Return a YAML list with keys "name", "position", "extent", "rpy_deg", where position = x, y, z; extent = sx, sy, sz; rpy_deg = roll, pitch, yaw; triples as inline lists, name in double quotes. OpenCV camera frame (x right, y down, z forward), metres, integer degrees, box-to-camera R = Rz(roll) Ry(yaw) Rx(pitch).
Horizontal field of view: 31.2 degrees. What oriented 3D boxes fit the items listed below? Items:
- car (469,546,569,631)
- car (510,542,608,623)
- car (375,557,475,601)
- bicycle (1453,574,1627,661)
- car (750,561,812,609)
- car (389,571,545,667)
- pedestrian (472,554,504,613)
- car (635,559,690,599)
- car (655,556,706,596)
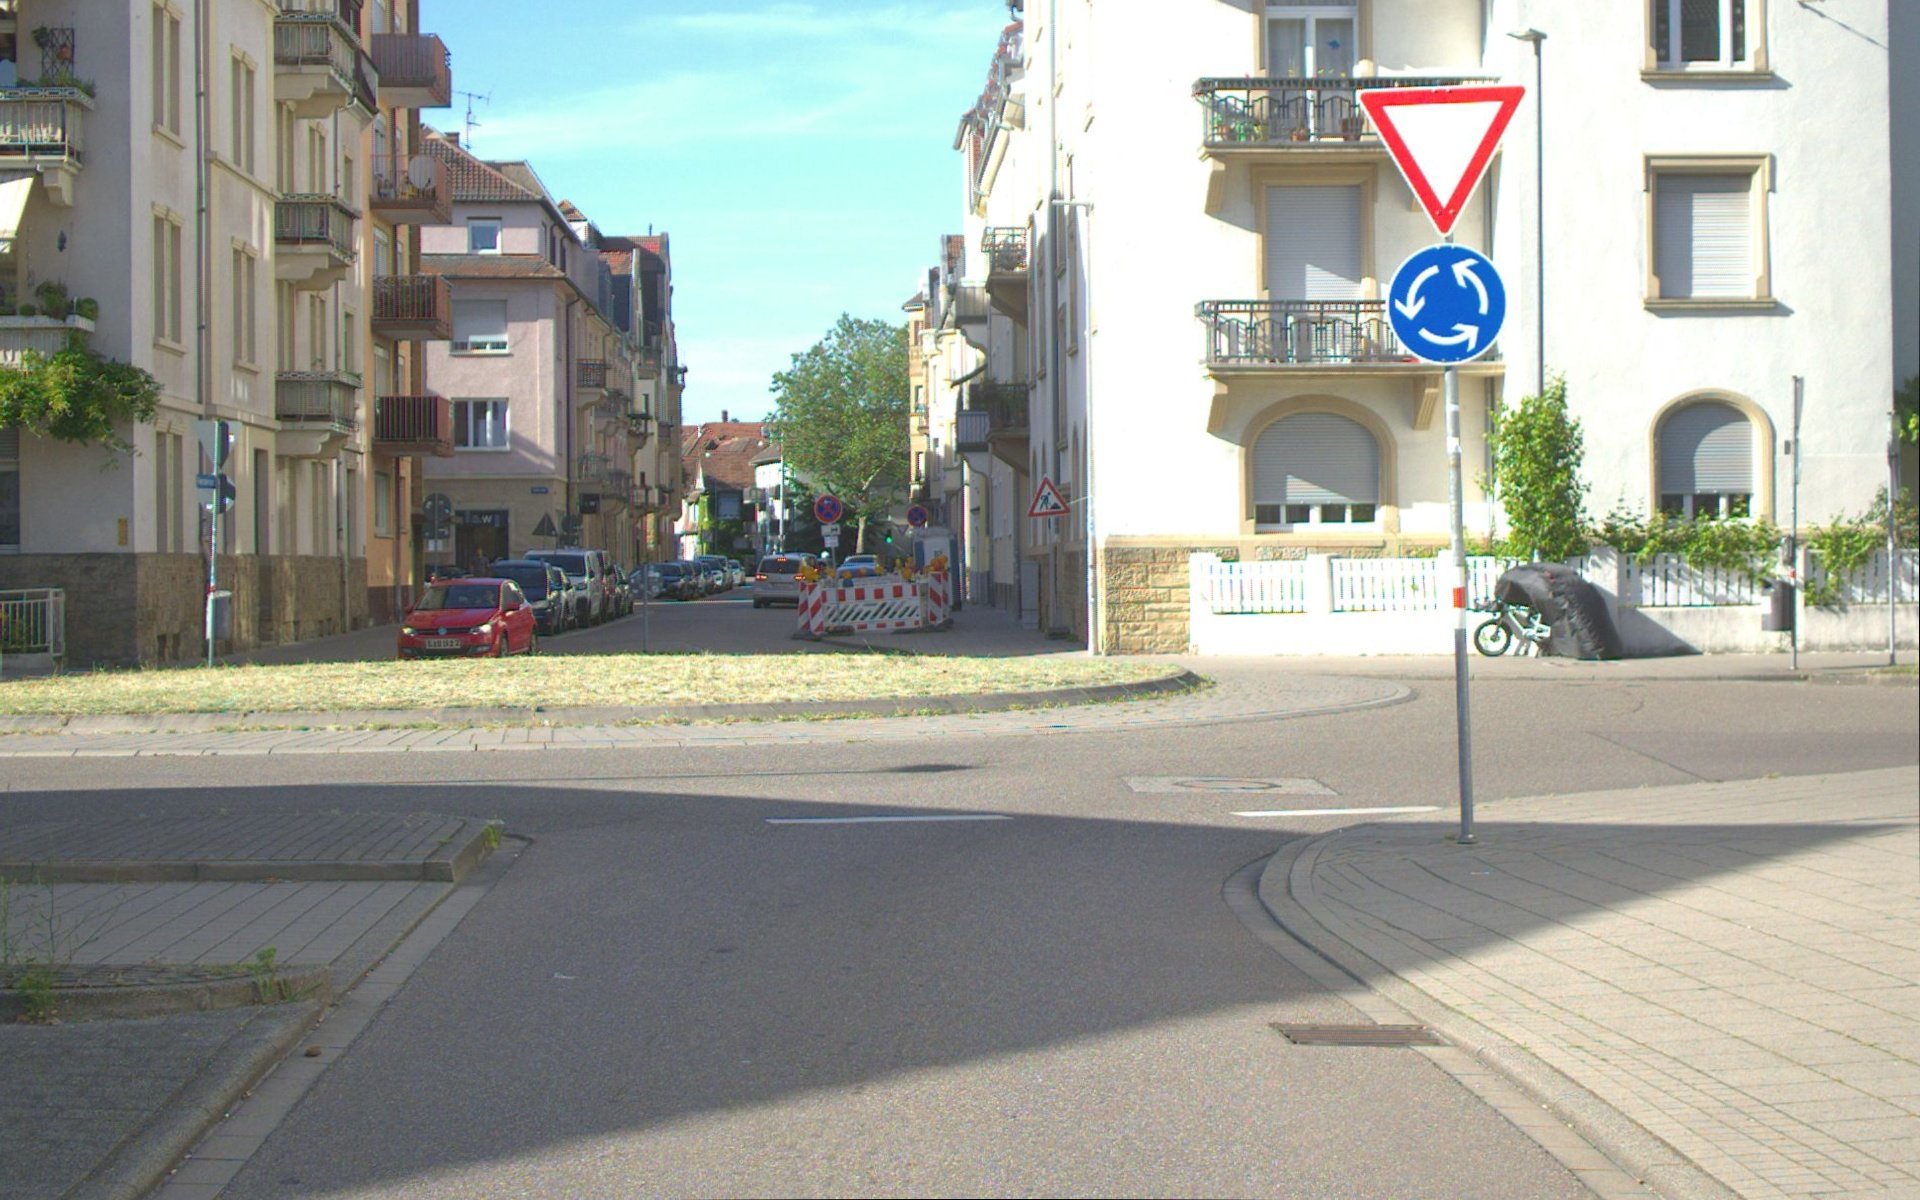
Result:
- name: "car"
  position: [-9.560, -0.268, 74.761]
  extent: [1.762, 1.765, 4.294]
  rpy_deg: [1, 1, -2]
- name: "car"
  position: [-9.940, -0.453, 85.542]
  extent: [1.975, 1.918, 5.310]
  rpy_deg: [1, 1, -2]
- name: "car"
  position: [-18.682, -0.754, 119.984]
  extent: [3.529, 1.434, 1.700]
  rpy_deg: [2, 2, 45]
- name: "bicycle"
  position: [7.997, 0.235, 47.469]
  extent: [2.284, 1.153, 0.765]
  rpy_deg: [1, 0, 41]
- name: "car"
  position: [-5.744, -0.461, 110.556]
  extent: [1.838, 1.427, 4.029]
  rpy_deg: [-1, -1, -1]
- name: "car"
  position: [-7.890, 0.276, 55.354]
  extent: [1.711, 1.377, 4.000]
  rpy_deg: [-2, 1, 3]
- name: "pedestrian"
  position: [-14.724, -0.509, 107.225]
  extent: [0.923, 1.811, 0.995]
  rpy_deg: [1, 0, -5]
- name: "car"
  position: [-11.236, -0.781, 130.137]
  extent: [1.679, 1.421, 4.274]
  rpy_deg: [2, 0, 0]
- name: "car"
  position: [-11.992, -1.015, 147.777]
  extent: [2.003, 1.613, 4.488]
  rpy_deg: [2, 0, -3]
